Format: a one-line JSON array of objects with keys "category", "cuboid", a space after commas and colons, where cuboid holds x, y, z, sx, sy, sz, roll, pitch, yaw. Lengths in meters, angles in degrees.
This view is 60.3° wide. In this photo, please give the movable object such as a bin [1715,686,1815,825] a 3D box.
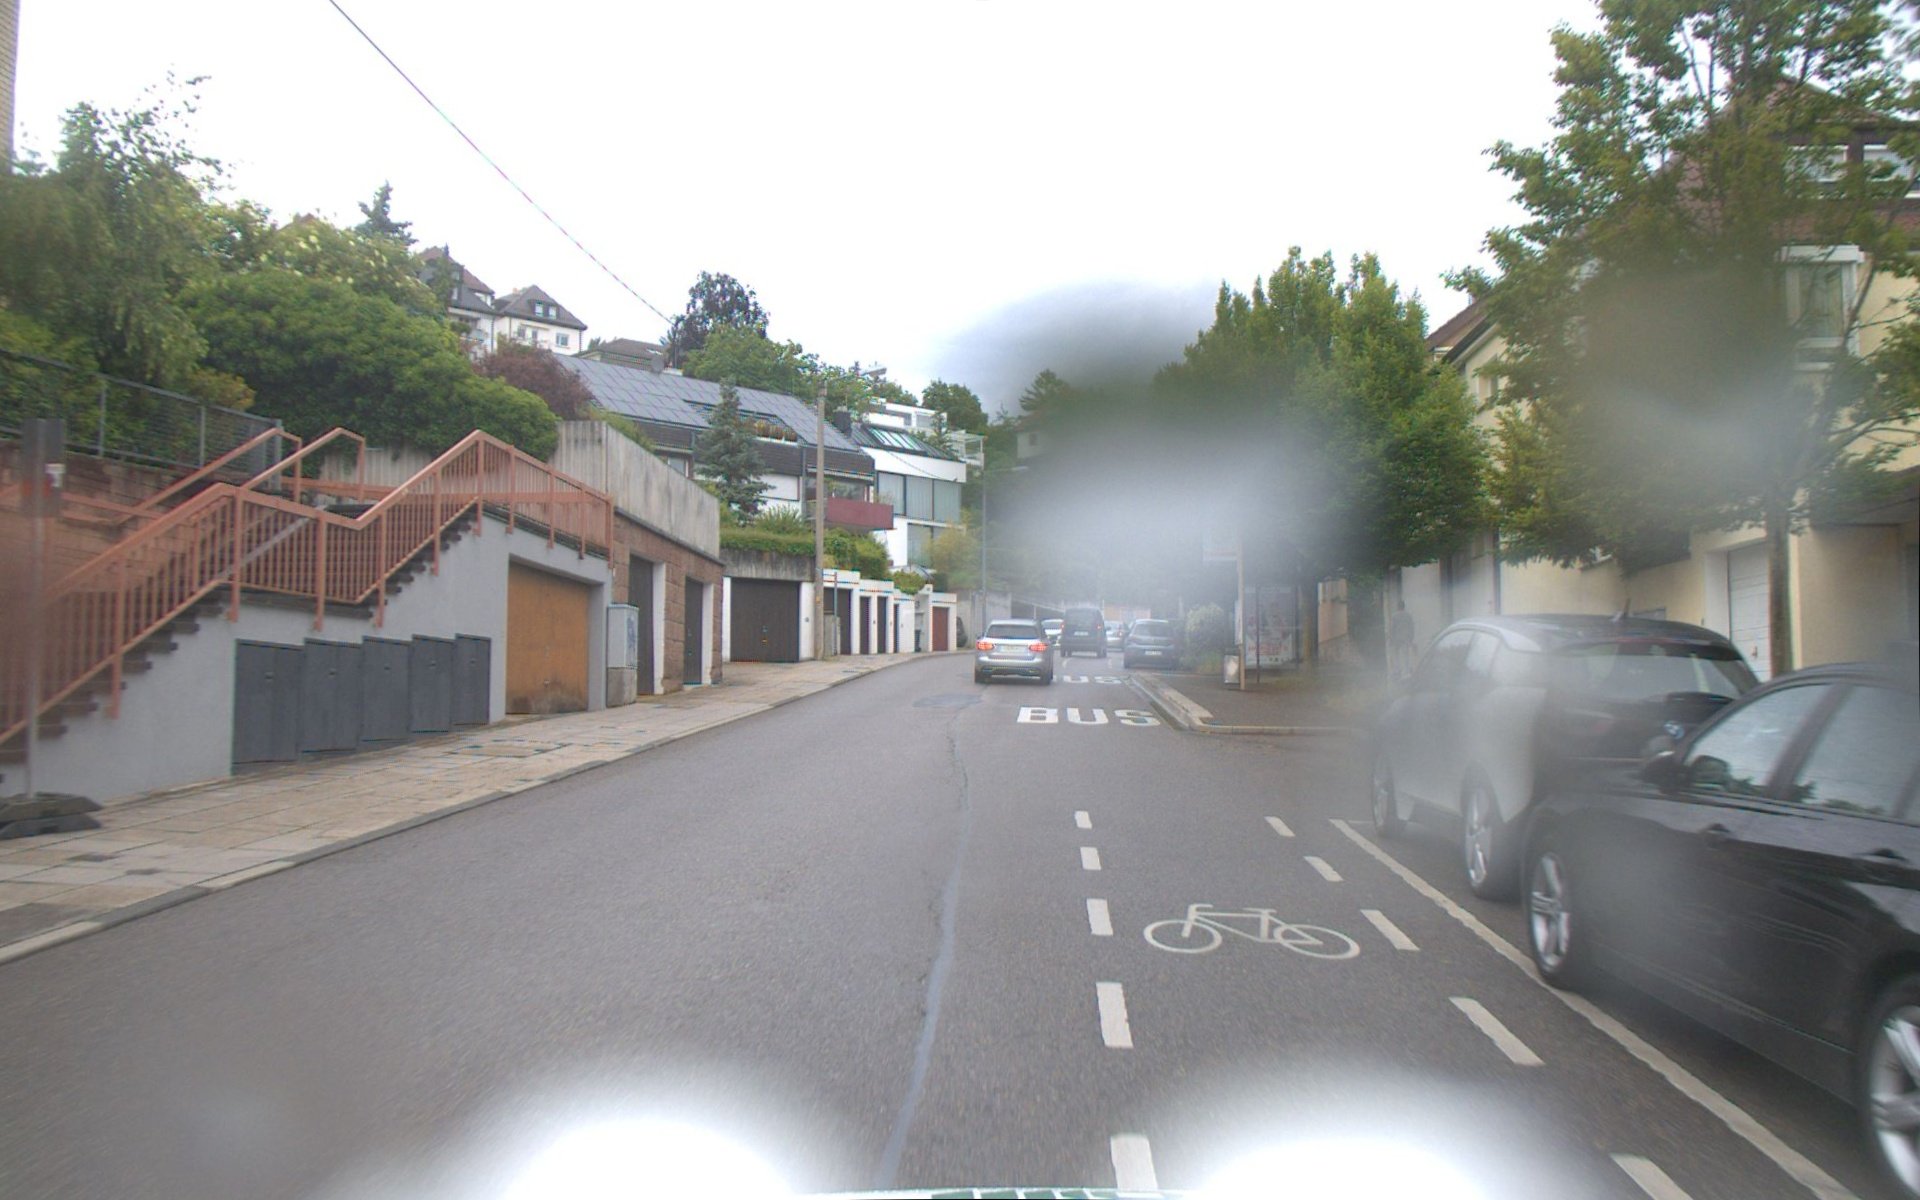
[{"category": "movable object such as a bin", "cuboid": [6.119, 1.172, 12.599, 0.475, 0.991, 0.605, -4, -1, 9]}]

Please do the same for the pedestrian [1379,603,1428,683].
[{"category": "pedestrian", "cuboid": [9.807, 0.947, 36.596, 0.815, 1.715, 1.045, -2, -1, 5]}]

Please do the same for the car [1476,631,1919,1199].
[{"category": "car", "cuboid": [3.371, 0.881, 5.626, 1.742, 1.464, 4.881, 1, -1, 1]}]

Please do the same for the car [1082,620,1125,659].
[{"category": "car", "cuboid": [6.855, 1.866, 78.813, 1.951, 1.738, 4.002, 1, -1, 5]}]

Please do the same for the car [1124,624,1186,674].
[{"category": "car", "cuboid": [6.087, 1.501, 51.795, 1.838, 1.441, 4.470, 1, 0, 6]}]

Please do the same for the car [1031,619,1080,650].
[{"category": "car", "cuboid": [4.855, 1.730, 83.810, 1.593, 1.542, 3.834, 0, -1, 17]}]

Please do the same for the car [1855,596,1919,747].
[{"category": "car", "cuboid": [11.757, 0.770, 16.896, 4.207, 1.506, 1.831, 1, 0, 4]}]

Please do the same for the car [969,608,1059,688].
[{"category": "car", "cuboid": [1.231, 1.110, 39.053, 1.983, 1.738, 4.215, 1, -1, 0]}]

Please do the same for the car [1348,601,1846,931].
[{"category": "car", "cuboid": [3.788, 0.882, 10.642, 1.693, 1.636, 4.120, 2, -1, 2]}]

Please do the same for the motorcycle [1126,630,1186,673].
[{"category": "motorcycle", "cuboid": [6.518, 1.716, 55.029, 1.873, 1.353, 0.788, 2, -1, 2]}]

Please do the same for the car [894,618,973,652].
[{"category": "car", "cuboid": [-1.358, 1.730, 82.580, 1.755, 1.504, 3.867, 2, 0, -44]}]

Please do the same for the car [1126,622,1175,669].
[{"category": "car", "cuboid": [6.688, 1.574, 57.858, 1.621, 1.515, 4.003, 2, -1, 7]}]

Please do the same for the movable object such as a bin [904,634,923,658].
[{"category": "movable object such as a bin", "cuboid": [-1.993, 1.961, 70.710, 0.535, 0.980, 0.642, 0, -1, 43]}]

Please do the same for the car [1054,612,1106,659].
[{"category": "car", "cuboid": [4.644, 1.358, 64.260, 1.952, 1.738, 4.001, 1, -1, 4]}]
